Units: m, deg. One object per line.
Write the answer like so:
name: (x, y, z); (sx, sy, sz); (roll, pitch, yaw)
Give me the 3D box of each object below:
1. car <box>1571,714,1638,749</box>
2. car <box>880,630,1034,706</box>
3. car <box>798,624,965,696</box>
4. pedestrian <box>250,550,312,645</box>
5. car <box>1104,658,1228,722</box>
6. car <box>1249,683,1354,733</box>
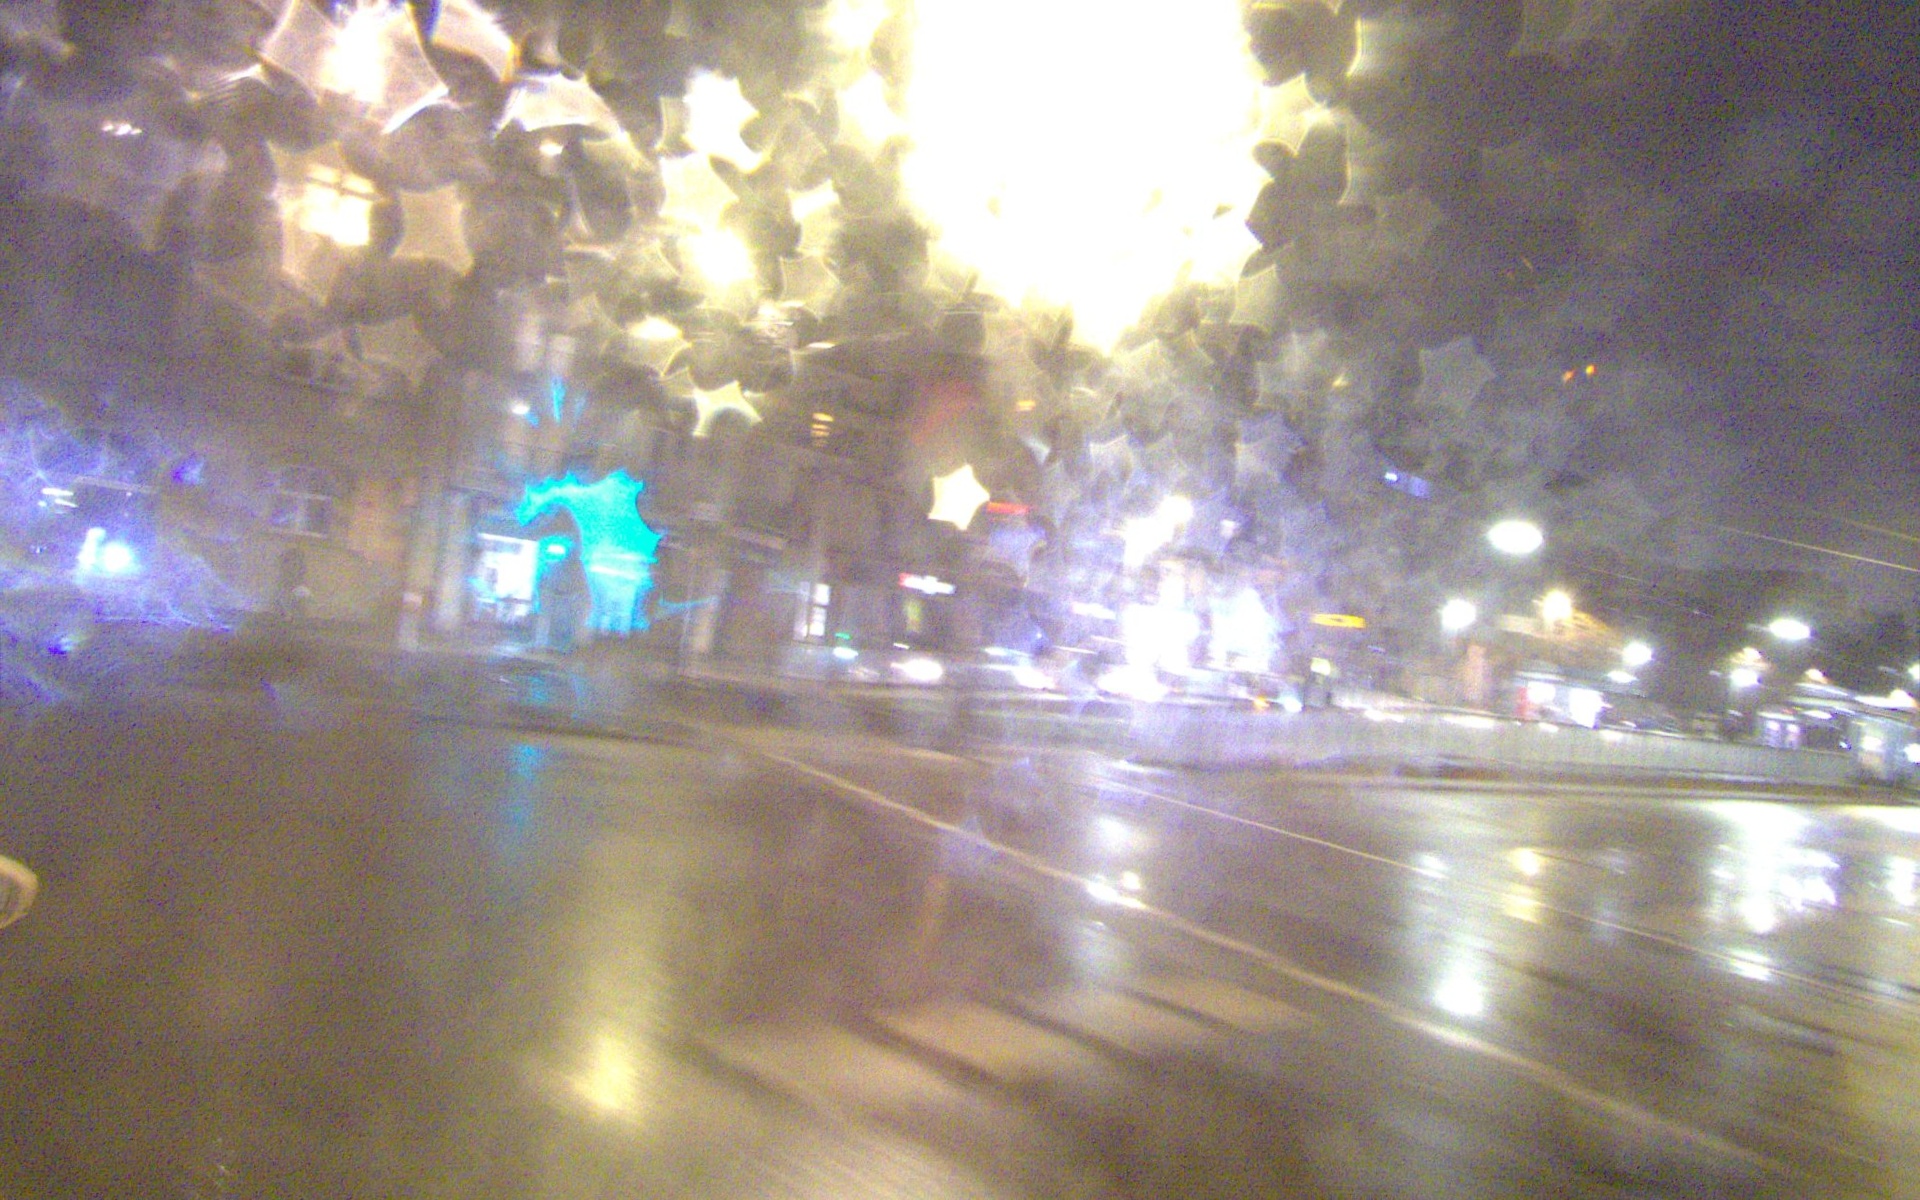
car: (38.404, 7.841, 59.878); (4.554, 1.597, 1.903); (9, -3, -38)
car: (-0.046, 1.849, 27.038); (3.769, 1.597, 1.725); (9, -2, -38)
car: (-2.272, 1.796, 29.851); (4.554, 1.597, 1.903); (9, -3, -38)
pedestrian: (-15.968, -0.063, 23.643); (0.969, 2.039, 1.004); (7, 2, -38)
car: (6.576, 2.862, 31.966); (3.696, 1.597, 1.676); (8, -2, -35)
car: (14.412, 4.572, 42.367); (4.554, 1.597, 1.903); (9, -3, -38)
